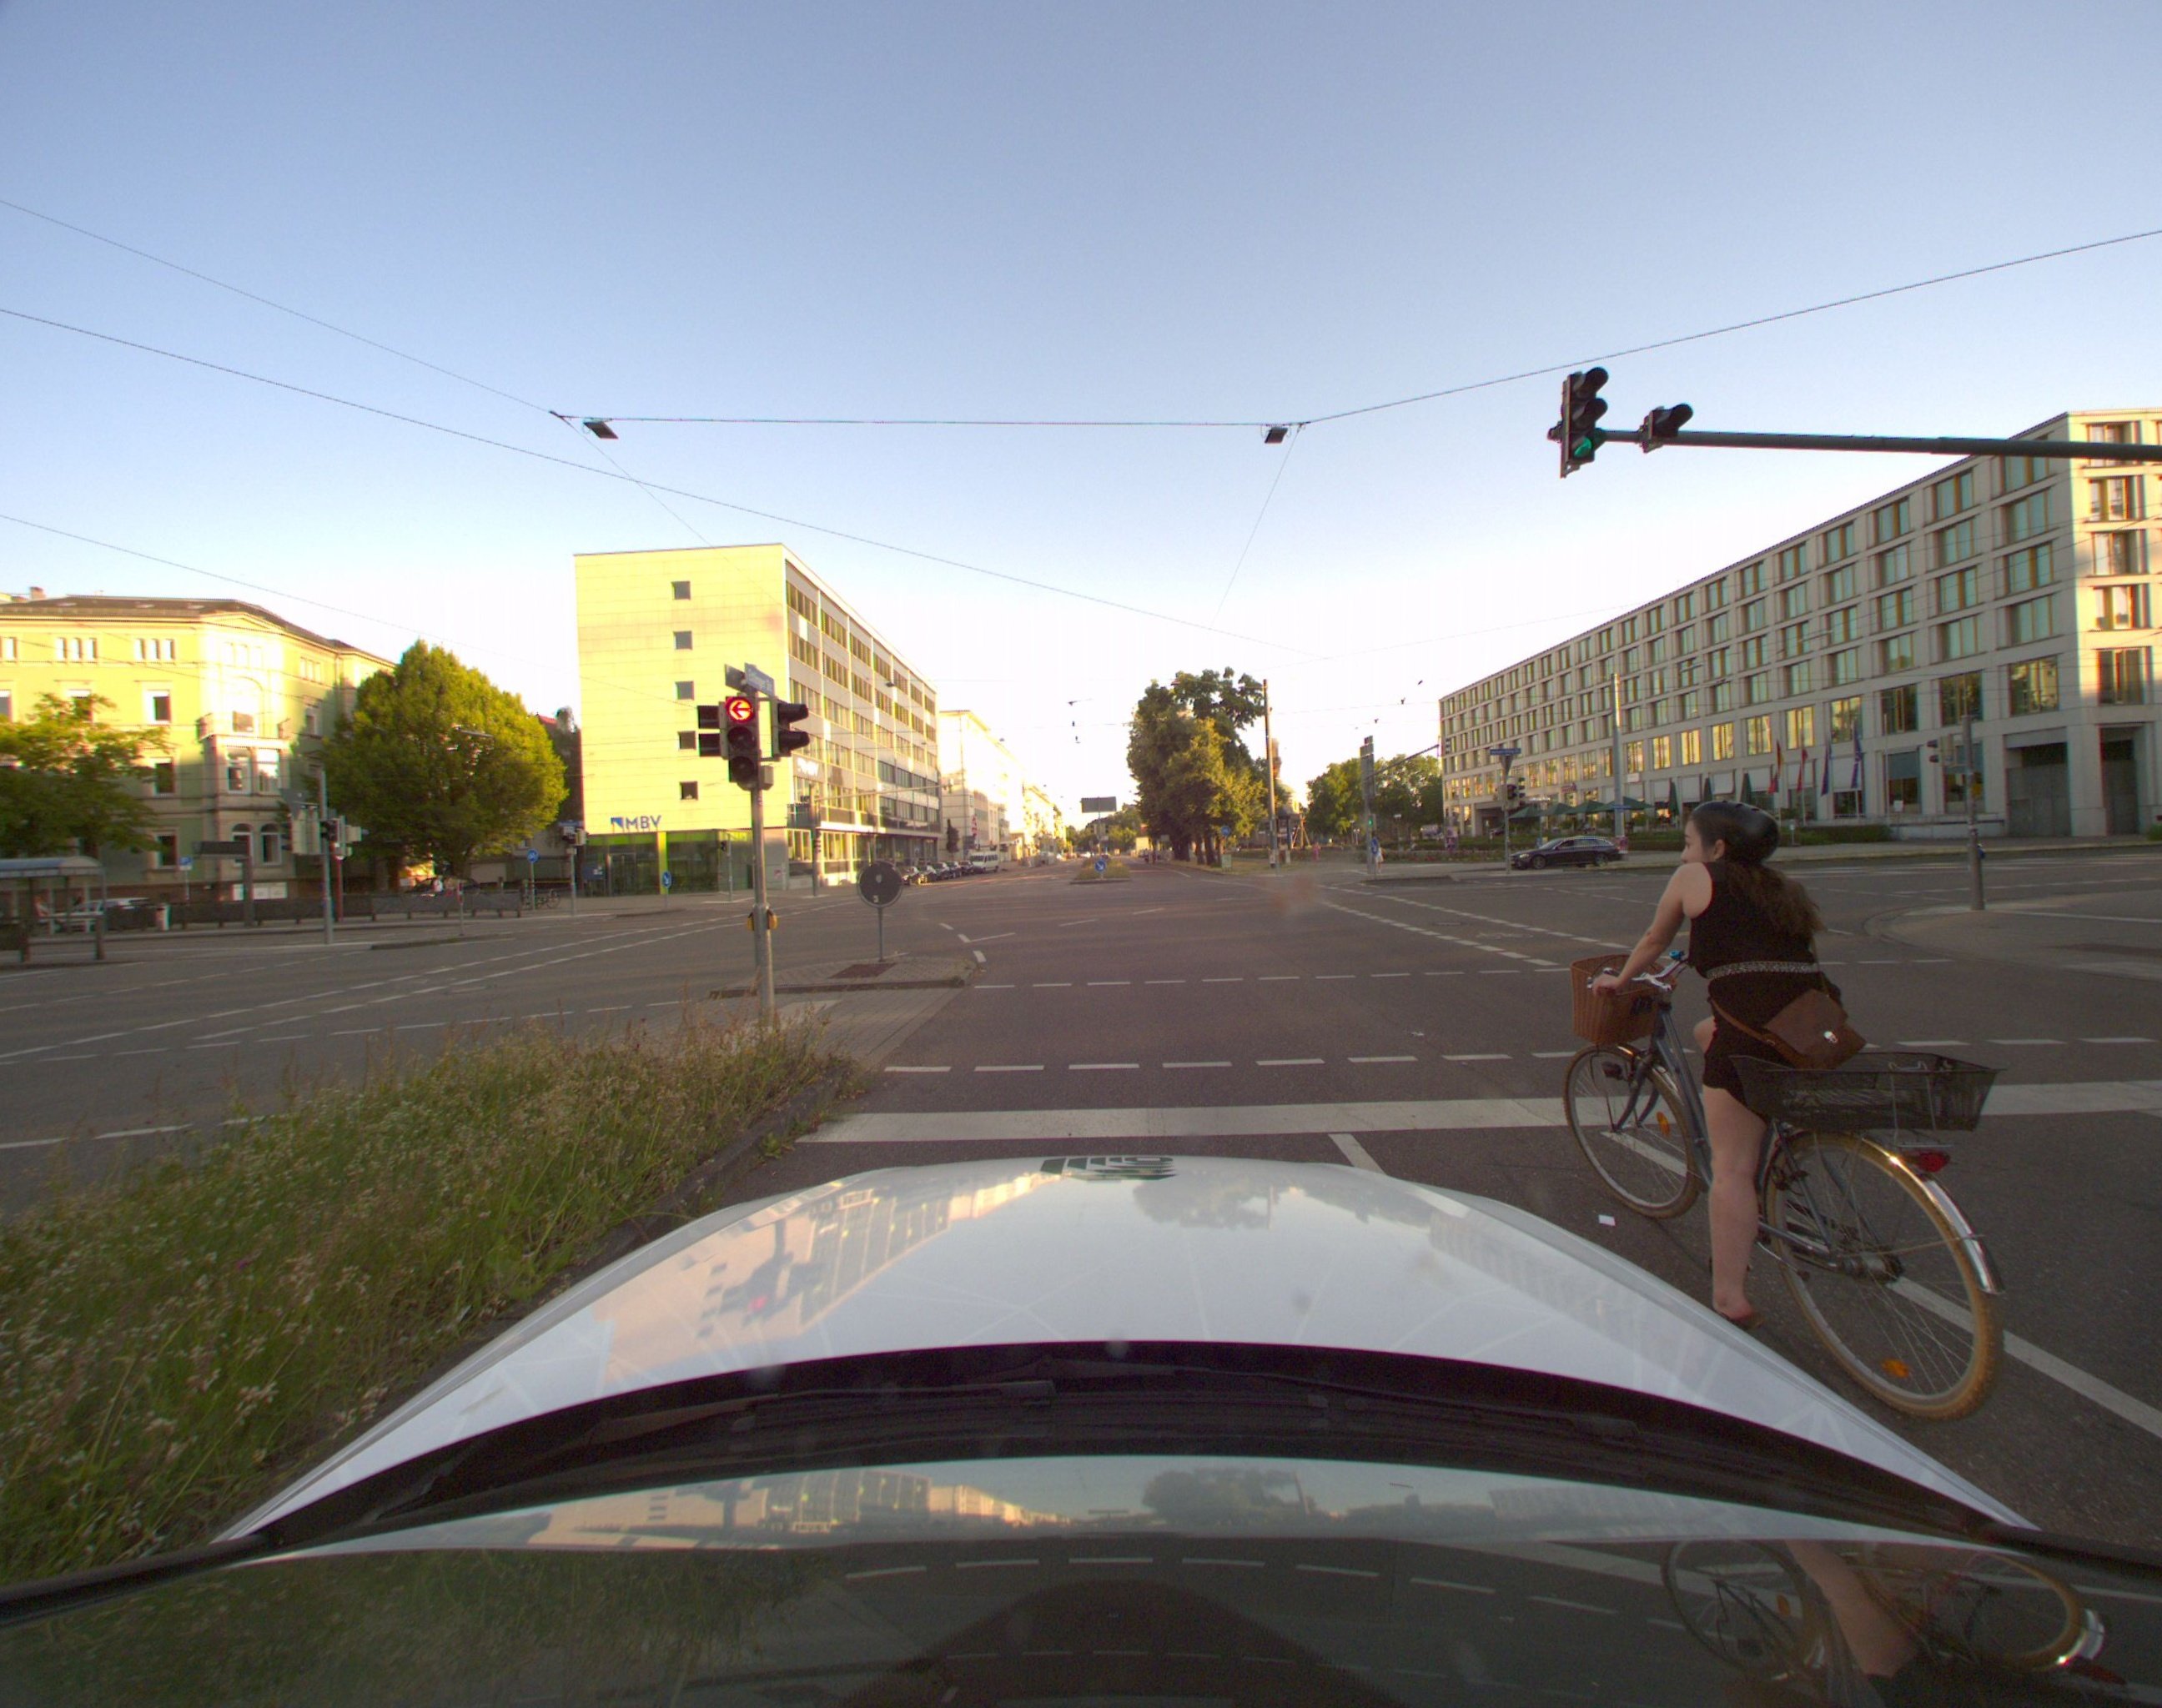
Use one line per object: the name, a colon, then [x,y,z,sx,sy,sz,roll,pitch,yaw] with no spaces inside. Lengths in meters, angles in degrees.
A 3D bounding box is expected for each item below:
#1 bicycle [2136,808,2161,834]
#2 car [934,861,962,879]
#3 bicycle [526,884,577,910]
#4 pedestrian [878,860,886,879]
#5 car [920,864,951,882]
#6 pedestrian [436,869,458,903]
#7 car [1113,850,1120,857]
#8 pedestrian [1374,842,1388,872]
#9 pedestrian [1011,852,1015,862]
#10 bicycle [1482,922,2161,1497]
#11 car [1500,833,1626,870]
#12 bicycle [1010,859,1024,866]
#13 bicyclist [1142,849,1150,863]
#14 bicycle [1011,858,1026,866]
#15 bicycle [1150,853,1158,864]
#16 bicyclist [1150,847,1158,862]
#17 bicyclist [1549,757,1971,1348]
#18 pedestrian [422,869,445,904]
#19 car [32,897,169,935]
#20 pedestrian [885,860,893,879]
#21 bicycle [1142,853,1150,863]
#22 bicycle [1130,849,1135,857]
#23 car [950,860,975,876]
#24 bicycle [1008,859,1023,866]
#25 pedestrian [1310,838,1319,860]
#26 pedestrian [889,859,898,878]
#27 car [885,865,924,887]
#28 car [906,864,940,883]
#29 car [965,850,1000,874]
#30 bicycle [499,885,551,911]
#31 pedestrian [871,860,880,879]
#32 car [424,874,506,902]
bicycle: [49.731,-1.555,37.028,2.762,1.106,0.602,-3,0,-1]
car: [-12.849,1.570,79.031,1.913,1.568,4.002,-3,0,2]
bicycle: [-25.894,2.092,39.867,0.832,1.112,2.216,-3,0,6]
pedestrian: [-17.848,1.372,73.092,0.549,1.679,0.500,-3,0,1]
car: [-13.101,1.680,73.729,1.913,1.464,4.002,-3,0,2]
pedestrian: [-34.355,1.720,44.125,0.641,1.790,0.720,-3,0,-12]
car: [9.424,-0.127,216.362,1.403,1.641,4.000,-3,0,1]
pedestrian: [15.840,0.176,42.987,0.489,1.540,0.408,-3,0,1]
pedestrian: [-13.881,0.542,165.397,0.677,2.013,0.545,-3,0,1]
bicycle: [2.182,0.891,2.851,0.609,1.132,2.005,-1,0,2]
car: [23.129,-0.107,39.216,4.803,1.515,2.002,-3,0,4]
bicycle: [-9.999,1.315,127.368,2.198,1.112,0.689,-3,0,0]
bicyclist: [7.569,0.233,94.857,0.744,1.663,0.873,-3,0,1]
bicycle: [-9.871,1.270,129.339,2.198,1.236,0.839,-3,0,0]
bicycle: [8.534,0.518,95.127,0.744,1.144,2.506,-3,0,2]
bicyclist: [8.507,0.040,95.068,0.744,1.691,0.799,-3,0,1]
bicyclist: [2.177,0.553,2.768,0.597,1.636,0.999,-1,0,2]
pedestrian: [-34.451,1.718,43.327,0.641,1.790,0.720,-3,0,-12]
car: [-45.242,2.839,37.678,3.588,1.372,1.833,-3,0,-15]
pedestrian: [-17.195,1.353,73.039,0.498,1.679,0.500,-3,0,1]
bicycle: [7.619,0.448,95.146,0.744,1.144,2.506,-3,0,2]
bicycle: [13.121,-0.251,208.016,0.997,2.013,4.006,-3,0,5]
car: [-12.380,1.442,85.254,1.913,1.568,4.002,-3,0,2]
bicycle: [-10.078,1.317,125.947,2.198,1.112,0.619,-3,0,0]
pedestrian: [17.642,-0.394,61.468,0.458,1.656,0.567,-3,0,1]
pedestrian: [-16.661,1.265,72.408,0.549,1.679,0.500,-3,0,1]
car: [-13.506,1.656,62.420,1.913,1.464,4.105,-3,0,2]
car: [-13.309,1.642,68.916,1.913,1.464,4.002,-3,0,2]
car: [-11.053,0.862,91.688,1.988,2.478,5.888,-3,0,12]
bicycle: [-27.111,2.116,39.748,0.832,1.112,2.216,-3,0,6]
pedestrian: [-18.245,1.369,72.250,0.549,1.679,0.500,-3,0,1]
car: [-35.054,1.909,46.447,1.830,1.372,3.594,-3,0,0]
